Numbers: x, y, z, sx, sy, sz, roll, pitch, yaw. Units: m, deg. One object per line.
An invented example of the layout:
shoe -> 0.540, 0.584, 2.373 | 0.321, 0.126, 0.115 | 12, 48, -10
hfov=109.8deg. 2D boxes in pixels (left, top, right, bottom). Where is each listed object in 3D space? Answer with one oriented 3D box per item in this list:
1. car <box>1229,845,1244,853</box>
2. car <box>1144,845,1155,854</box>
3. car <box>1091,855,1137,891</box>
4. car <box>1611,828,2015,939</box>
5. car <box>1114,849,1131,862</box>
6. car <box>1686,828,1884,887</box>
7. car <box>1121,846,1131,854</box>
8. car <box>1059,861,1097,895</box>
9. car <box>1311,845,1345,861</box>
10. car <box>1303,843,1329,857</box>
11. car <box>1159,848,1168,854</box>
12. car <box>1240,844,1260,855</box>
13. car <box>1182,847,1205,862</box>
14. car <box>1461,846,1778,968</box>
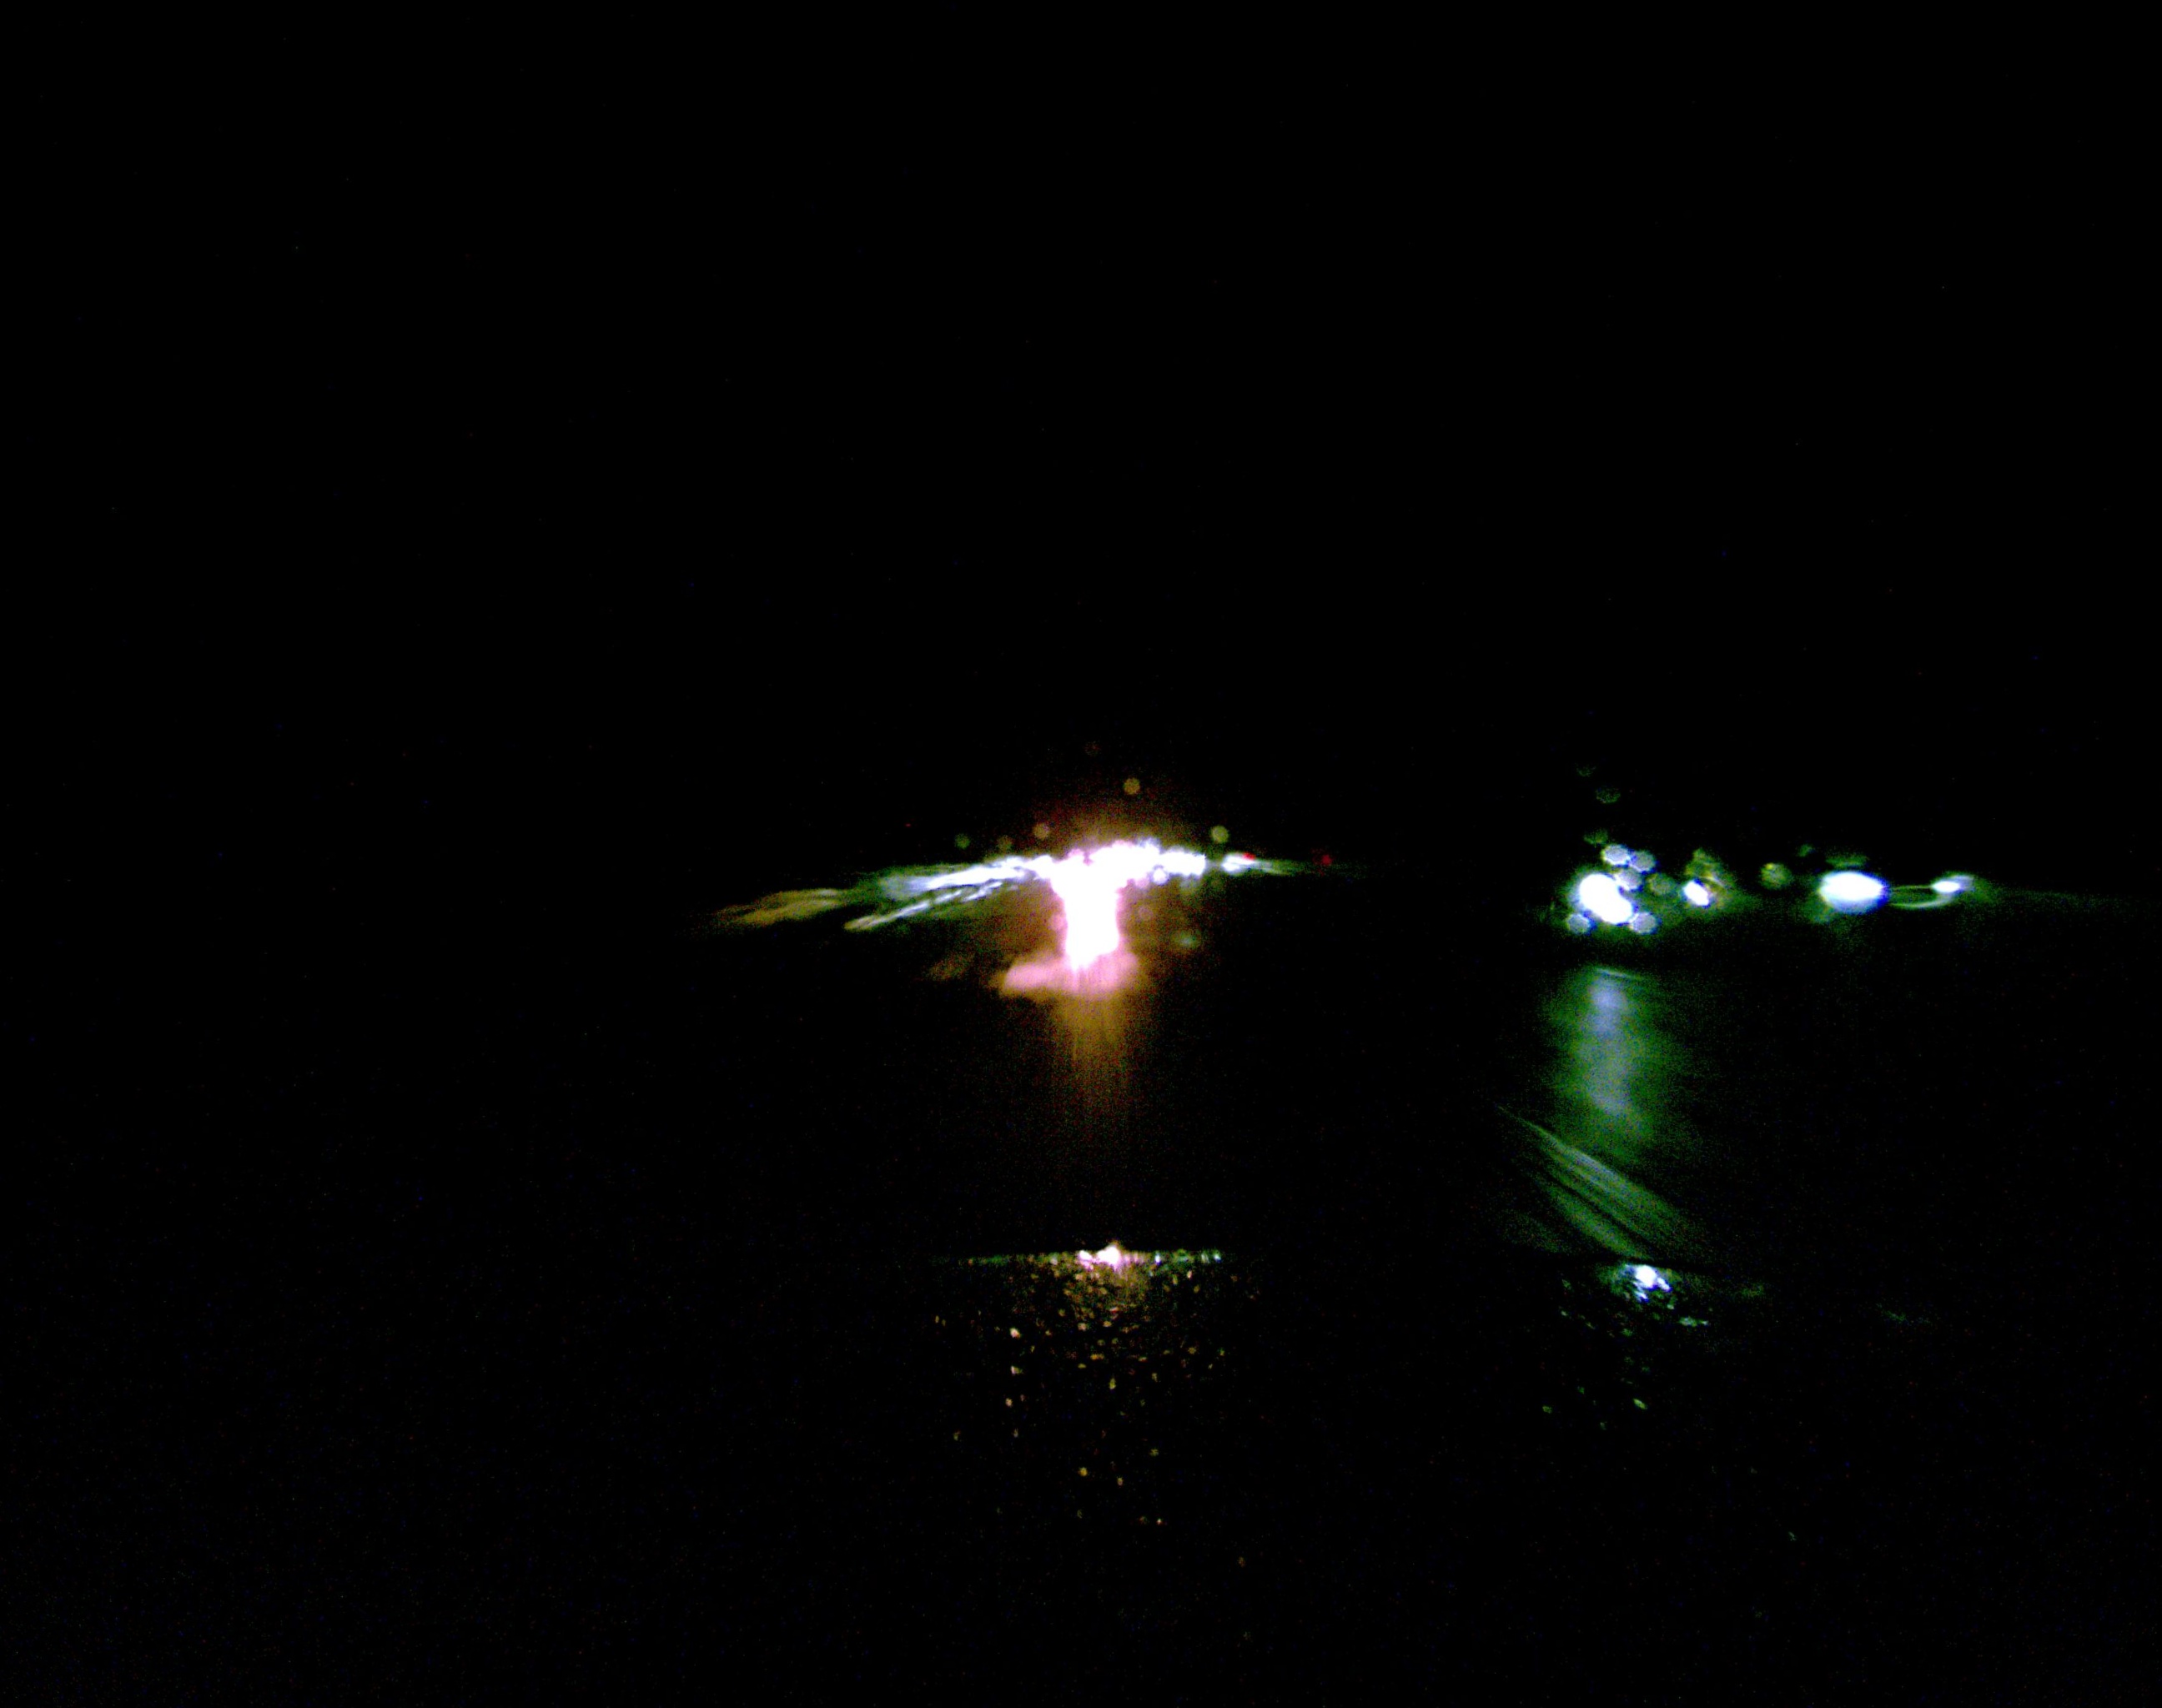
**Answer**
car -> 30.564, -1.011, 149.617 | 1.885, 1.548, 4.459 | -3, 1, -1
car -> 14.239, -0.903, 158.568 | 1.998, 1.797, 4.000 | -2, 1, 2
car -> 1.506, 0.887, 35.691 | 1.998, 1.542, 4.001 | -3, -1, 1
car -> 11.983, 0.373, 13.143 | 1.998, 1.468, 5.164 | -3, 1, 0
car -> 5.434, 0.143, 99.946 | 1.998, 1.551, 4.587 | -2, 1, 2
car -> 21.127, 0.057, 23.109 | 1.884, 1.548, 4.459 | -3, 1, 0
car -> 9.744, -0.832, 164.550 | 1.998, 1.551, 4.587 | -2, 1, 2
car -> -0.101, 1.012, 32.915 | 1.525, 1.256, 3.368 | -3, 1, 1
car -> 25.328, -0.098, 78.096 | 1.885, 1.548, 4.459 | -3, 1, -1
car -> 29.506, -0.534, 95.461 | 1.884, 1.548, 4.459 | -3, 1, 0
car -> 24.092, -0.885, 222.158 | 1.885, 1.548, 4.459 | -3, 1, 0
car -> 25.370, -0.629, 114.269 | 1.885, 1.548, 4.459 | -3, 1, -1
car -> 12.807, 0.004, 86.890 | 1.998, 1.551, 4.587 | -2, 1, 2
car -> 7.756, 0.646, 11.531 | 1.998, 1.433, 3.999 | -3, 1, 1
